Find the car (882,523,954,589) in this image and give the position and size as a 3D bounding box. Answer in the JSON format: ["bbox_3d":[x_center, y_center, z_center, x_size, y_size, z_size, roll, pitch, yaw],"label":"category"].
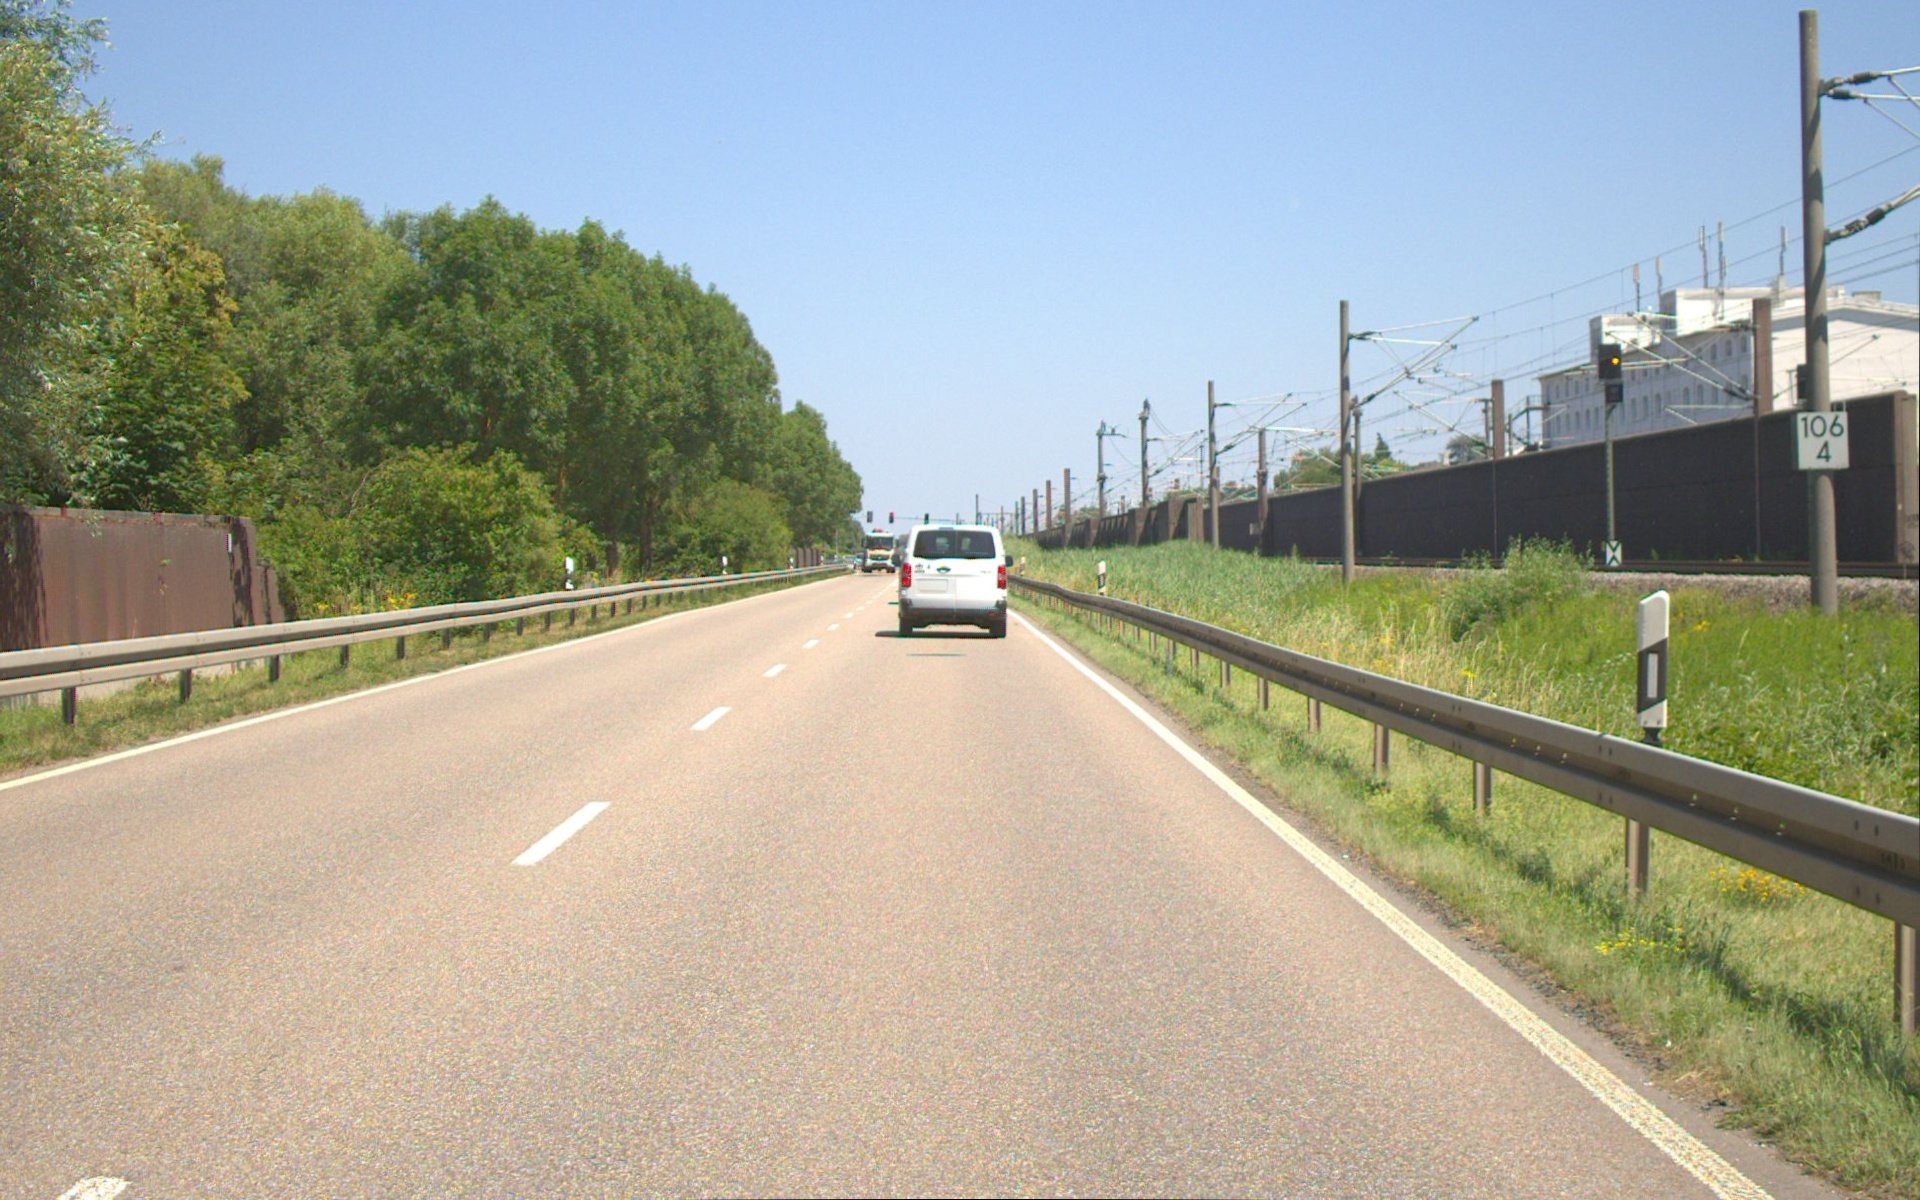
[{"bbox_3d":[-1.211,-1.286,99.836,1.993,1.843,4.000,1,1,0],"label":"car"}]

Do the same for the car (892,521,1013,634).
[{"bbox_3d":[-0.134,-0.407,59.860,1.993,1.843,4.000,1,1,0],"label":"car"}]
